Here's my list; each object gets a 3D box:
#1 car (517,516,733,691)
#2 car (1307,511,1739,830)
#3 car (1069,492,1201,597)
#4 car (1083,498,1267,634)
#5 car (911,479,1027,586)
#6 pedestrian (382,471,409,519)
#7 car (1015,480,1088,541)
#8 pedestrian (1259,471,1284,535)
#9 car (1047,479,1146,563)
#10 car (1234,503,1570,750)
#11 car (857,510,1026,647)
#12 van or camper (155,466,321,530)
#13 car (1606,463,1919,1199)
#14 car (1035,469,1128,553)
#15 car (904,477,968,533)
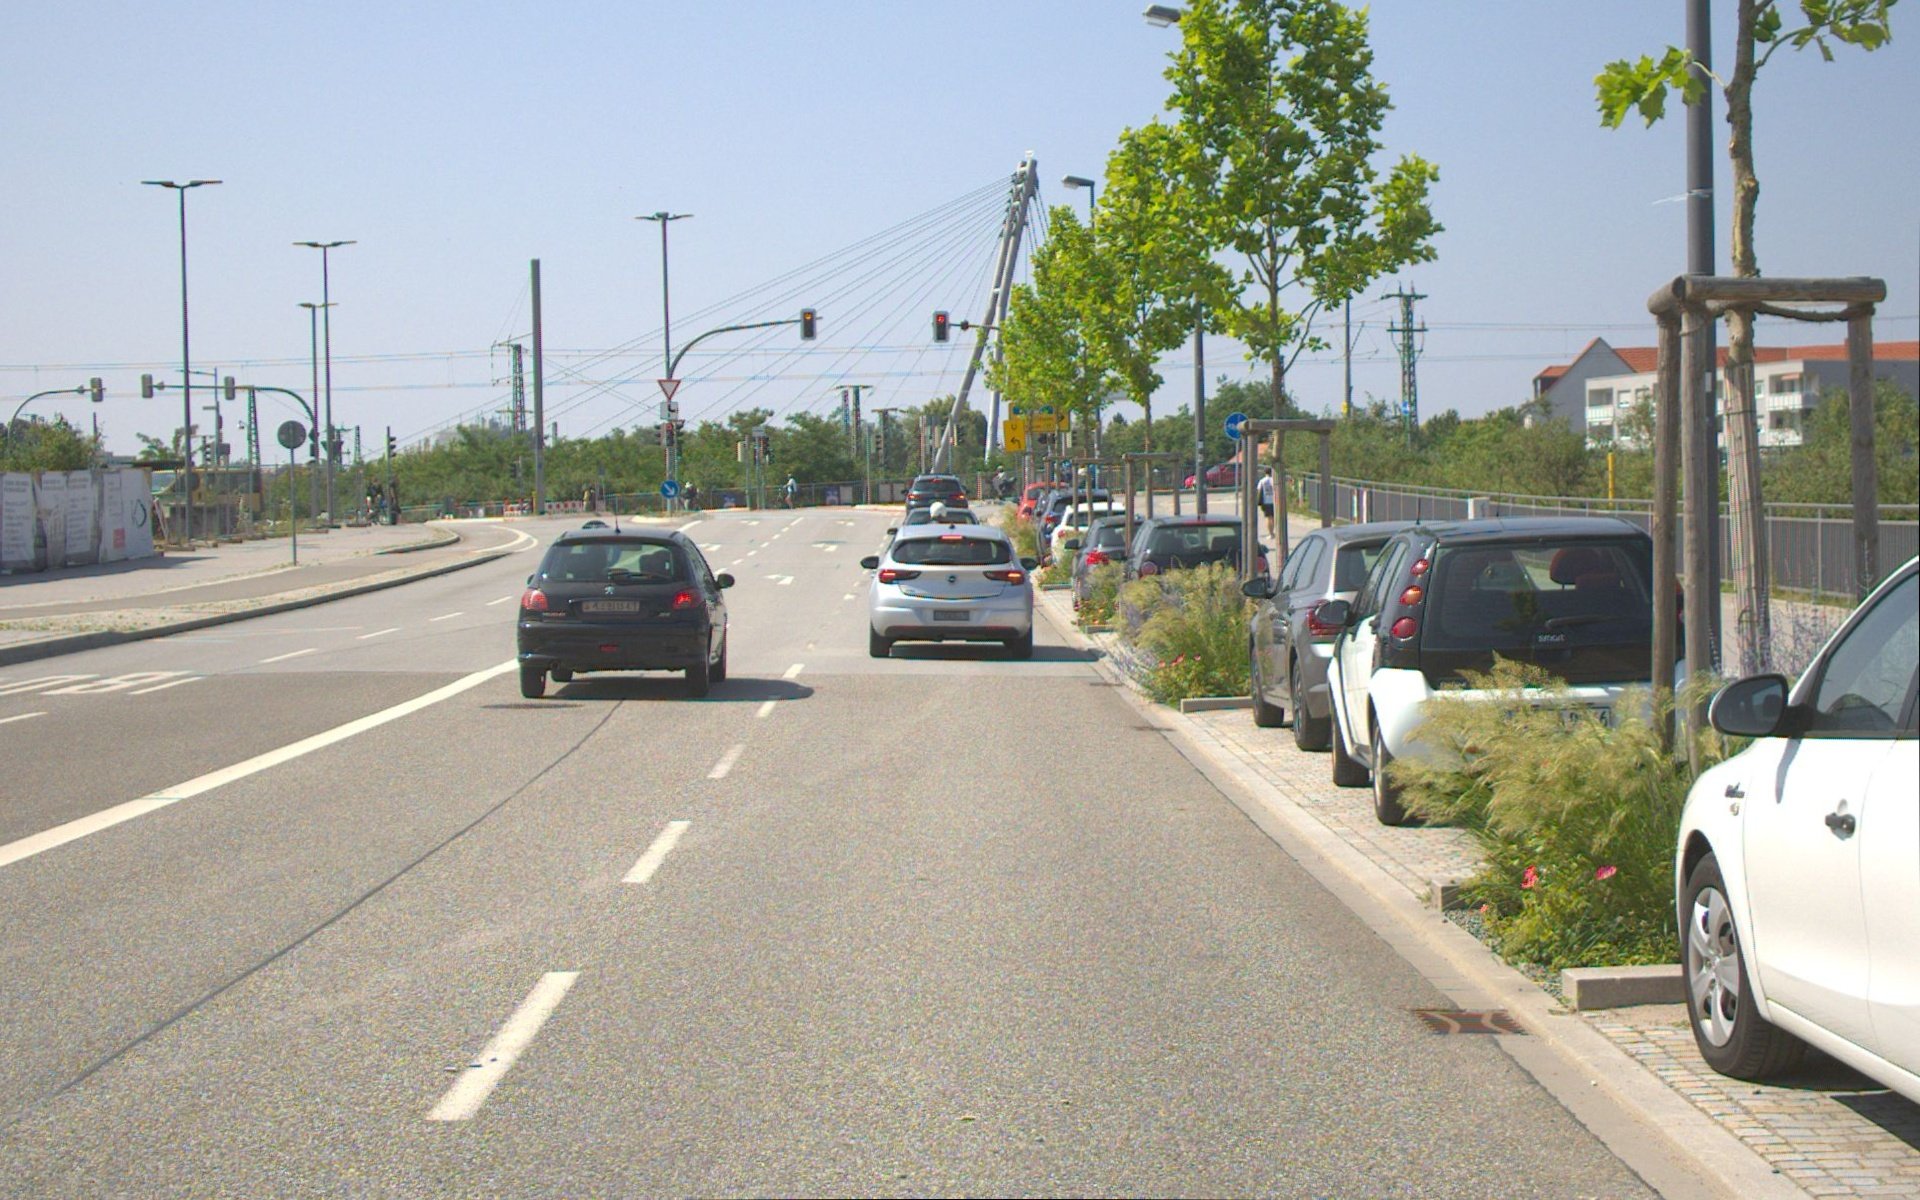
[{"bbox_3d":[-2.917,-0.018,30.544,1.619,1.411,3.728,-1,2,-1],"label":"car"},{"bbox_3d":[2.869,0.283,18.302,1.704,1.457,4.085,-1,2,2],"label":"car"},{"bbox_3d":[2.494,-0.815,49.783,1.704,1.397,4.270,-2,1,1],"label":"car"},{"bbox_3d":[2.475,-0.408,40.393,1.704,1.457,3.954,-2,1,-2],"label":"car"},{"bbox_3d":[0.136,-1.112,54.986,1.778,1.563,4.001,-1,3,0],"label":"car"},{"bbox_3d":[-19.414,-3.623,118.212,0.844,1.641,0.828,0,2,-5],"label":"pedestrian"},{"bbox_3d":[2.383,-2.365,90.157,1.778,1.498,4.001,-2,2,0],"label":"car"},{"bbox_3d":[7.628,-2.373,84.173,0.533,1.570,0.524,1,1,0],"label":"pedestrian"},{"bbox_3d":[2.567,-1.522,65.362,1.696,1.470,4.206,-2,2,1],"label":"car"},{"bbox_3d":[2.932,0.111,23.554,1.704,1.457,3.955,-2,2,-1],"label":"car"},{"bbox_3d":[-0.186,-0.280,38.461,1.778,1.437,4.000,0,2,0],"label":"car"},{"bbox_3d":[-22.357,-3.183,106.608,1.998,1.890,4.706,0,2,43],"label":"van or camper"},{"bbox_3d":[2.741,0.438,7.718,1.746,1.504,4.002,-1,2,-1],"label":"car"},{"bbox_3d":[2.523,-1.887,72.016,1.822,1.611,3.611,-2,3,1],"label":"car"},{"bbox_3d":[-0.684,-2.739,99.158,1.778,1.563,4.000,-1,2,0],"label":"car"}]
